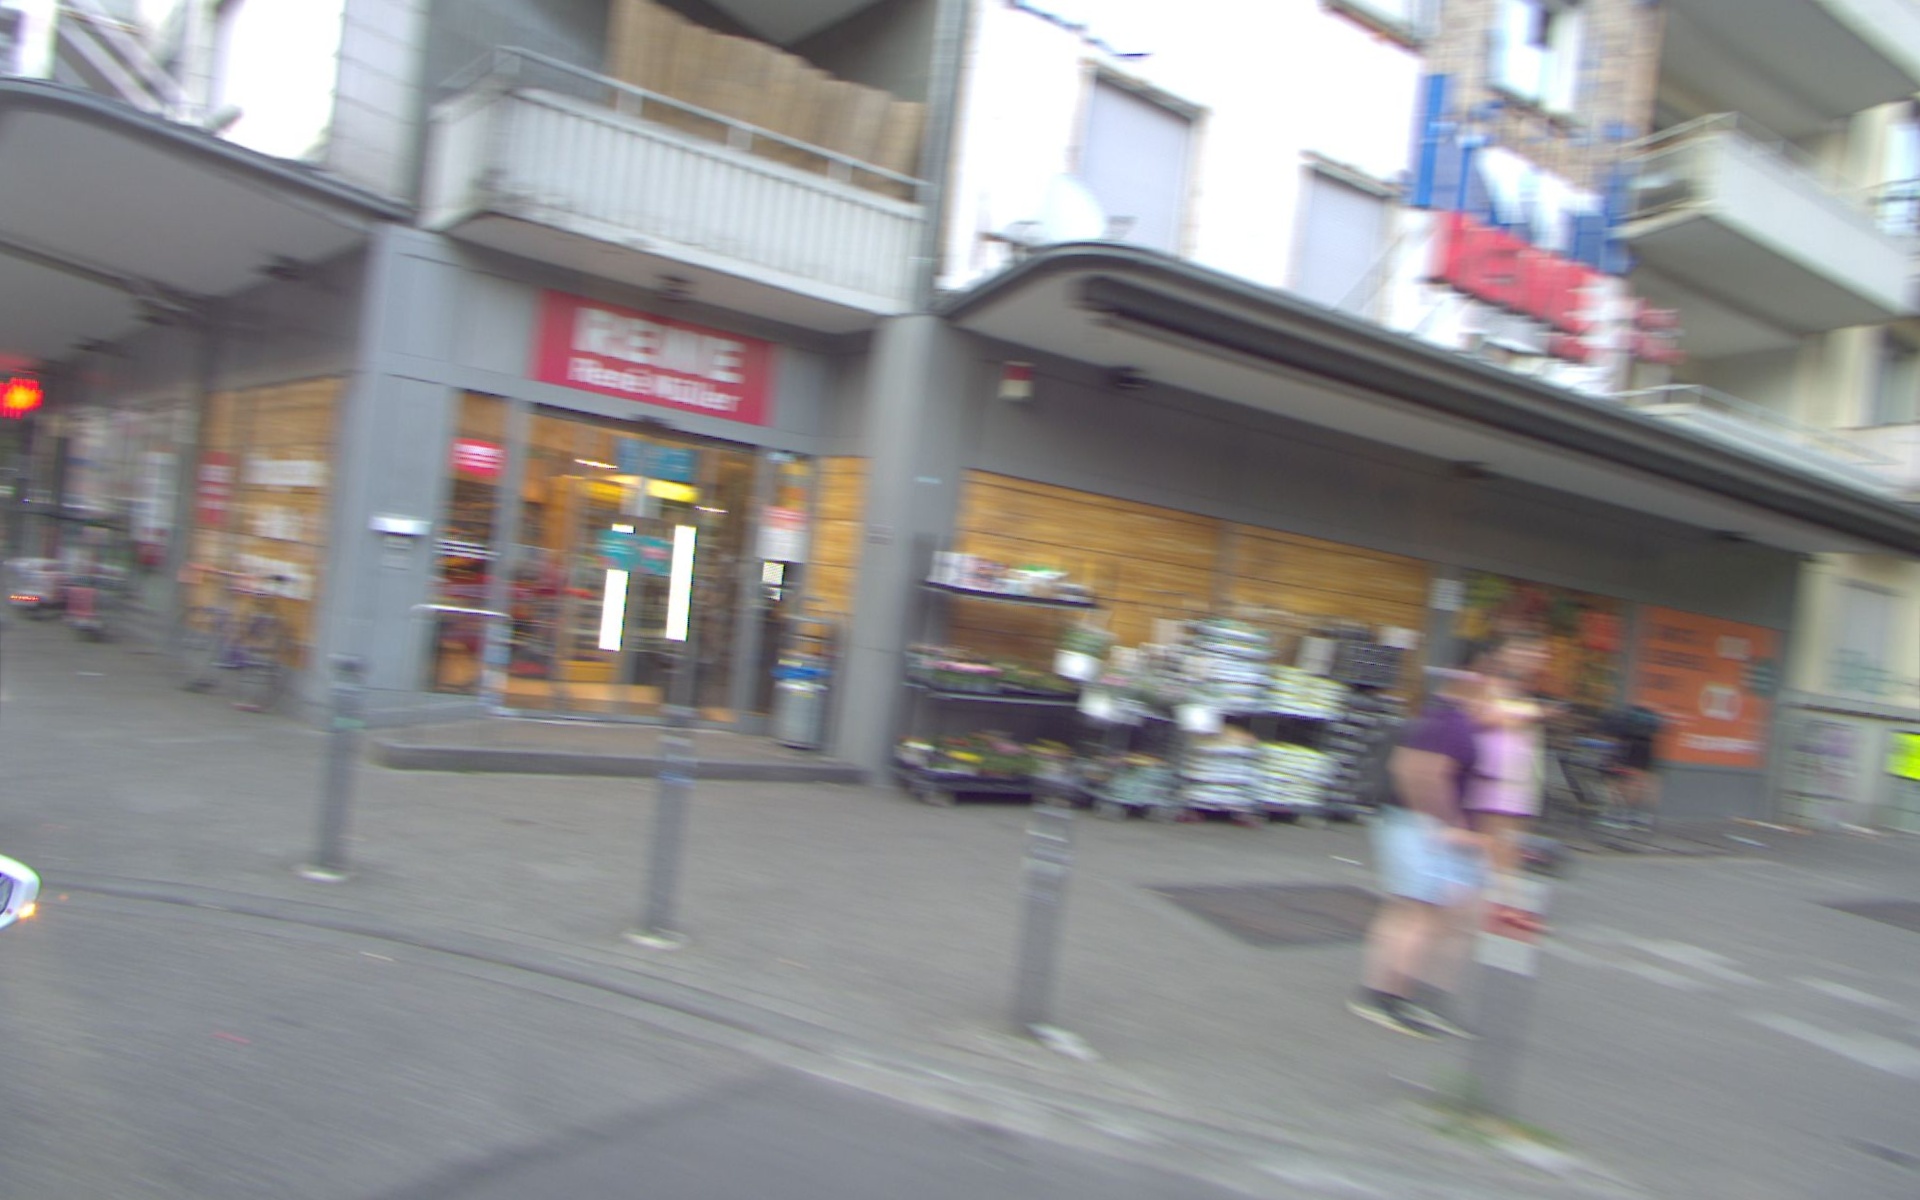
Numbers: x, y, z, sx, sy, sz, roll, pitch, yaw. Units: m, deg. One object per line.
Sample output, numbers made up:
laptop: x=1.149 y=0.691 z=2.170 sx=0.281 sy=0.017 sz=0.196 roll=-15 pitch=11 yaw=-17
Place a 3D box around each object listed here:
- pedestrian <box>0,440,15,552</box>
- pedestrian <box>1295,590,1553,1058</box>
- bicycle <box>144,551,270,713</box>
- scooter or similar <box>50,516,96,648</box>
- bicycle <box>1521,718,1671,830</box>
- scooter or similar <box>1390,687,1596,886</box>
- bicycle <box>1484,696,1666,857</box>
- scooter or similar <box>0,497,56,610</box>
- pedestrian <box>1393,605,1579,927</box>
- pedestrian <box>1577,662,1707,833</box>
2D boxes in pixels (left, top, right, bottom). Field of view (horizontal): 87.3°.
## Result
pedestrian: x=-9.956 y=-0.672 z=9.890 sx=0.692 sy=1.929 sz=0.719 roll=7 pitch=-1 yaw=40
pedestrian: x=1.877 y=0.859 z=4.192 sx=0.705 sy=1.671 sz=0.714 roll=7 pitch=-1 yaw=17
bicycle: x=-5.812 y=0.236 z=7.761 sx=0.949 sy=1.125 sz=0.290 roll=7 pitch=-1 yaw=28
scooter or similar: x=-9.034 y=-0.200 z=10.241 sx=0.218 sy=1.253 sz=0.954 roll=7 pitch=1 yaw=-42
bicycle: x=6.893 y=1.889 z=10.867 sx=1.860 sy=1.038 sz=0.375 roll=8 pitch=-1 yaw=-27
scooter or similar: x=4.180 y=1.429 z=7.972 sx=0.319 sy=1.282 sz=1.276 roll=8 pitch=1 yaw=-35
bicycle: x=5.753 y=1.605 z=9.538 sx=0.343 sy=1.217 sz=1.809 roll=7 pitch=-2 yaw=-5
scooter or similar: x=-11.944 y=-0.611 z=12.762 sx=1.645 sy=1.305 sz=0.439 roll=6 pitch=-1 yaw=43
pedestrian: x=3.178 y=0.961 z=6.068 sx=0.657 sy=1.746 sz=0.719 roll=7 pitch=-1 yaw=43
pedestrian: x=7.046 y=1.506 z=10.413 sx=0.657 sy=1.620 sz=0.715 roll=8 pitch=-1 yaw=-20
